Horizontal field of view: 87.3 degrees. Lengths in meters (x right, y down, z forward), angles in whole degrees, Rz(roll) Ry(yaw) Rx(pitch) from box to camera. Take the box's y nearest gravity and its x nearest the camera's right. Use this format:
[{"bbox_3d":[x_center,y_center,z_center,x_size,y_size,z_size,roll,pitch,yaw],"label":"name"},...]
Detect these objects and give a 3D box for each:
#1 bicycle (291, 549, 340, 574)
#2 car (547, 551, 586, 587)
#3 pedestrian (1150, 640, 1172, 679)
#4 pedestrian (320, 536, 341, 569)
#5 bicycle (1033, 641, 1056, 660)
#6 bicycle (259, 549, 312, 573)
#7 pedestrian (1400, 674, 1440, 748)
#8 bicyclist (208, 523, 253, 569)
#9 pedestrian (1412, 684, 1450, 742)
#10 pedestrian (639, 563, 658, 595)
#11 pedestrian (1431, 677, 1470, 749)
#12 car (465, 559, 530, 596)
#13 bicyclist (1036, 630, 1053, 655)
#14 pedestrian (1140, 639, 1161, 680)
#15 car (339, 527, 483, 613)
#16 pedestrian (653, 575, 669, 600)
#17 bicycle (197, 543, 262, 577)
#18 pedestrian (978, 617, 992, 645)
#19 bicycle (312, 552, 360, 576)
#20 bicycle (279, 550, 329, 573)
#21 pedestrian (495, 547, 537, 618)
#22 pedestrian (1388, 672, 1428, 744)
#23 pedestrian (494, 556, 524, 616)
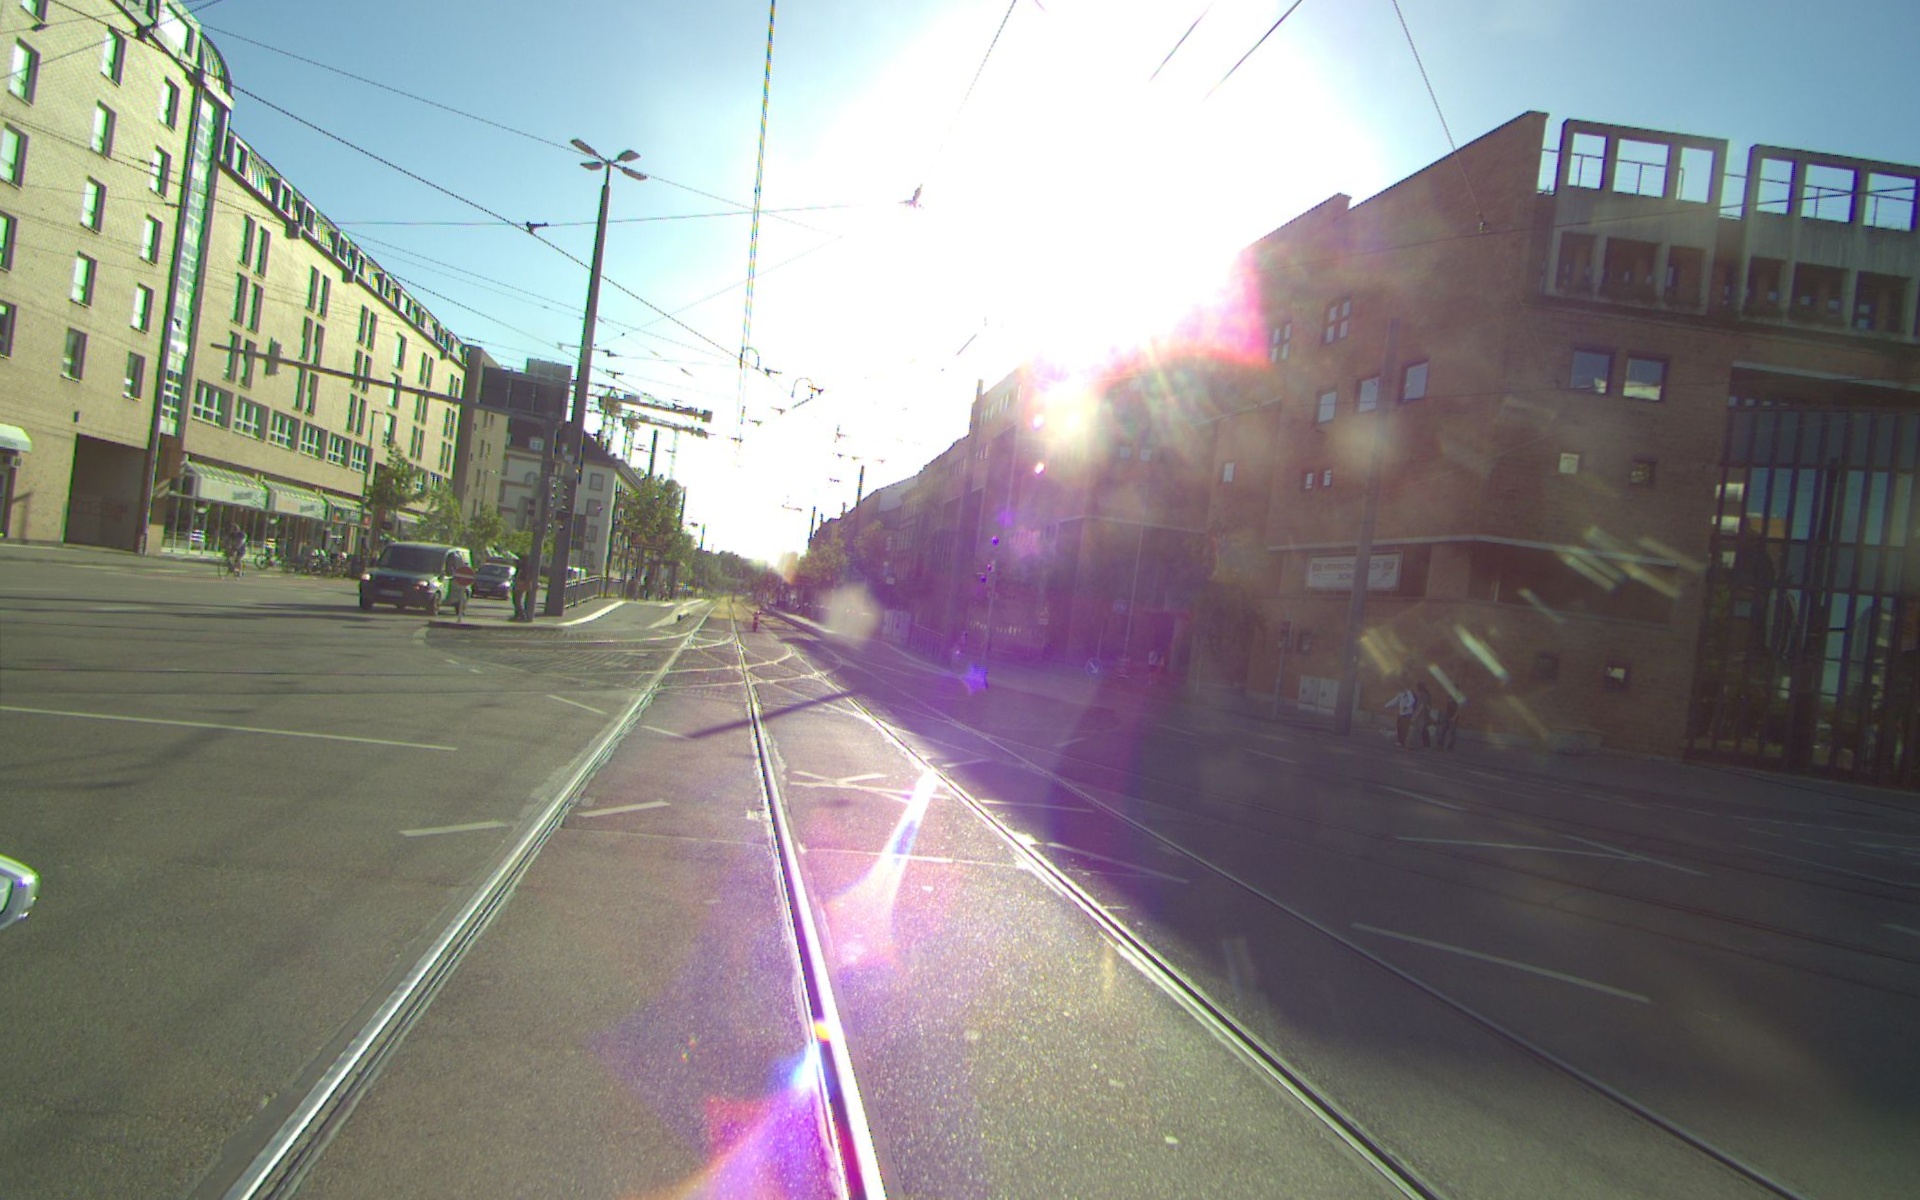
[{"bbox_3d":[-31.784,-1.897,49.602,2.003,0.932,0.482,7,0,-3],"label":"bicycle"},{"bbox_3d":[-38.272,-2.996,98.061,2.348,3.036,8.442,7,0,-15],"label":"car"},{"bbox_3d":[9.731,2.877,48.674,0.631,1.808,0.687,6,0,-10],"label":"pedestrian"},{"bbox_3d":[-36.302,-2.714,58.006,0.707,1.786,0.564,6,0,-10],"label":"pedestrian"},{"bbox_3d":[4.821,2.884,57.544,0.640,0.915,2.341,7,-1,-11],"label":"bicycle"},{"bbox_3d":[-31.298,-1.804,46.692,2.003,0.855,0.482,7,0,-3],"label":"bicycle"},{"bbox_3d":[11.861,2.860,25.947,0.565,1.808,0.546,6,0,-21],"label":"pedestrian"},{"bbox_3d":[-24.251,-1.793,33.462,0.799,1.394,0.923,6,0,-14],"label":"bicyclist"},{"bbox_3d":[12.936,3.109,27.643,0.543,1.495,0.569,6,1,-30],"label":"pedestrian"},{"bbox_3d":[-19.488,-1.311,62.854,0.852,1.910,0.733,7,1,-23],"label":"pedestrian"},{"bbox_3d":[13.071,3.014,26.816,0.565,1.808,0.546,6,0,-21],"label":"pedestrian"},{"bbox_3d":[-21.291,-1.005,46.488,1.815,1.466,4.287,5,-1,-14],"label":"car"},{"bbox_3d":[4.836,2.432,57.713,0.637,1.355,0.651,7,0,-11],"label":"bicyclist"},{"bbox_3d":[8.846,2.744,46.717,0.540,1.810,0.572,7,3,-10],"label":"pedestrian"},{"bbox_3d":[-13.917,-0.700,25.783,1.813,1.858,4.101,5,-1,-9],"label":"car"},{"bbox_3d":[-21.231,-0.894,71.485,0.852,1.691,0.780,8,1,-23],"label":"pedestrian"},{"bbox_3d":[-24.326,-1.308,33.557,0.799,1.003,2.502,7,0,-14],"label":"bicycle"},{"bbox_3d":[1.730,2.142,69.033,0.632,1.808,0.687,6,0,-12],"label":"pedestrian"},{"bbox_3d":[-31.467,-1.810,50.720,2.003,0.932,0.482,7,0,-3],"label":"bicycle"},{"bbox_3d":[-31.439,-1.837,48.219,2.003,0.855,0.482,7,0,-3],"label":"bicycle"},{"bbox_3d":[-11.522,-0.456,26.106,0.711,1.748,0.593,7,0,-12],"label":"pedestrian"},{"bbox_3d":[11.875,2.864,26.686,0.565,1.808,0.546,6,0,-21],"label":"pedestrian"},{"bbox_3d":[-12.545,-0.400,27.952,0.575,1.596,0.642,7,0,-26],"label":"pedestrian"}]
